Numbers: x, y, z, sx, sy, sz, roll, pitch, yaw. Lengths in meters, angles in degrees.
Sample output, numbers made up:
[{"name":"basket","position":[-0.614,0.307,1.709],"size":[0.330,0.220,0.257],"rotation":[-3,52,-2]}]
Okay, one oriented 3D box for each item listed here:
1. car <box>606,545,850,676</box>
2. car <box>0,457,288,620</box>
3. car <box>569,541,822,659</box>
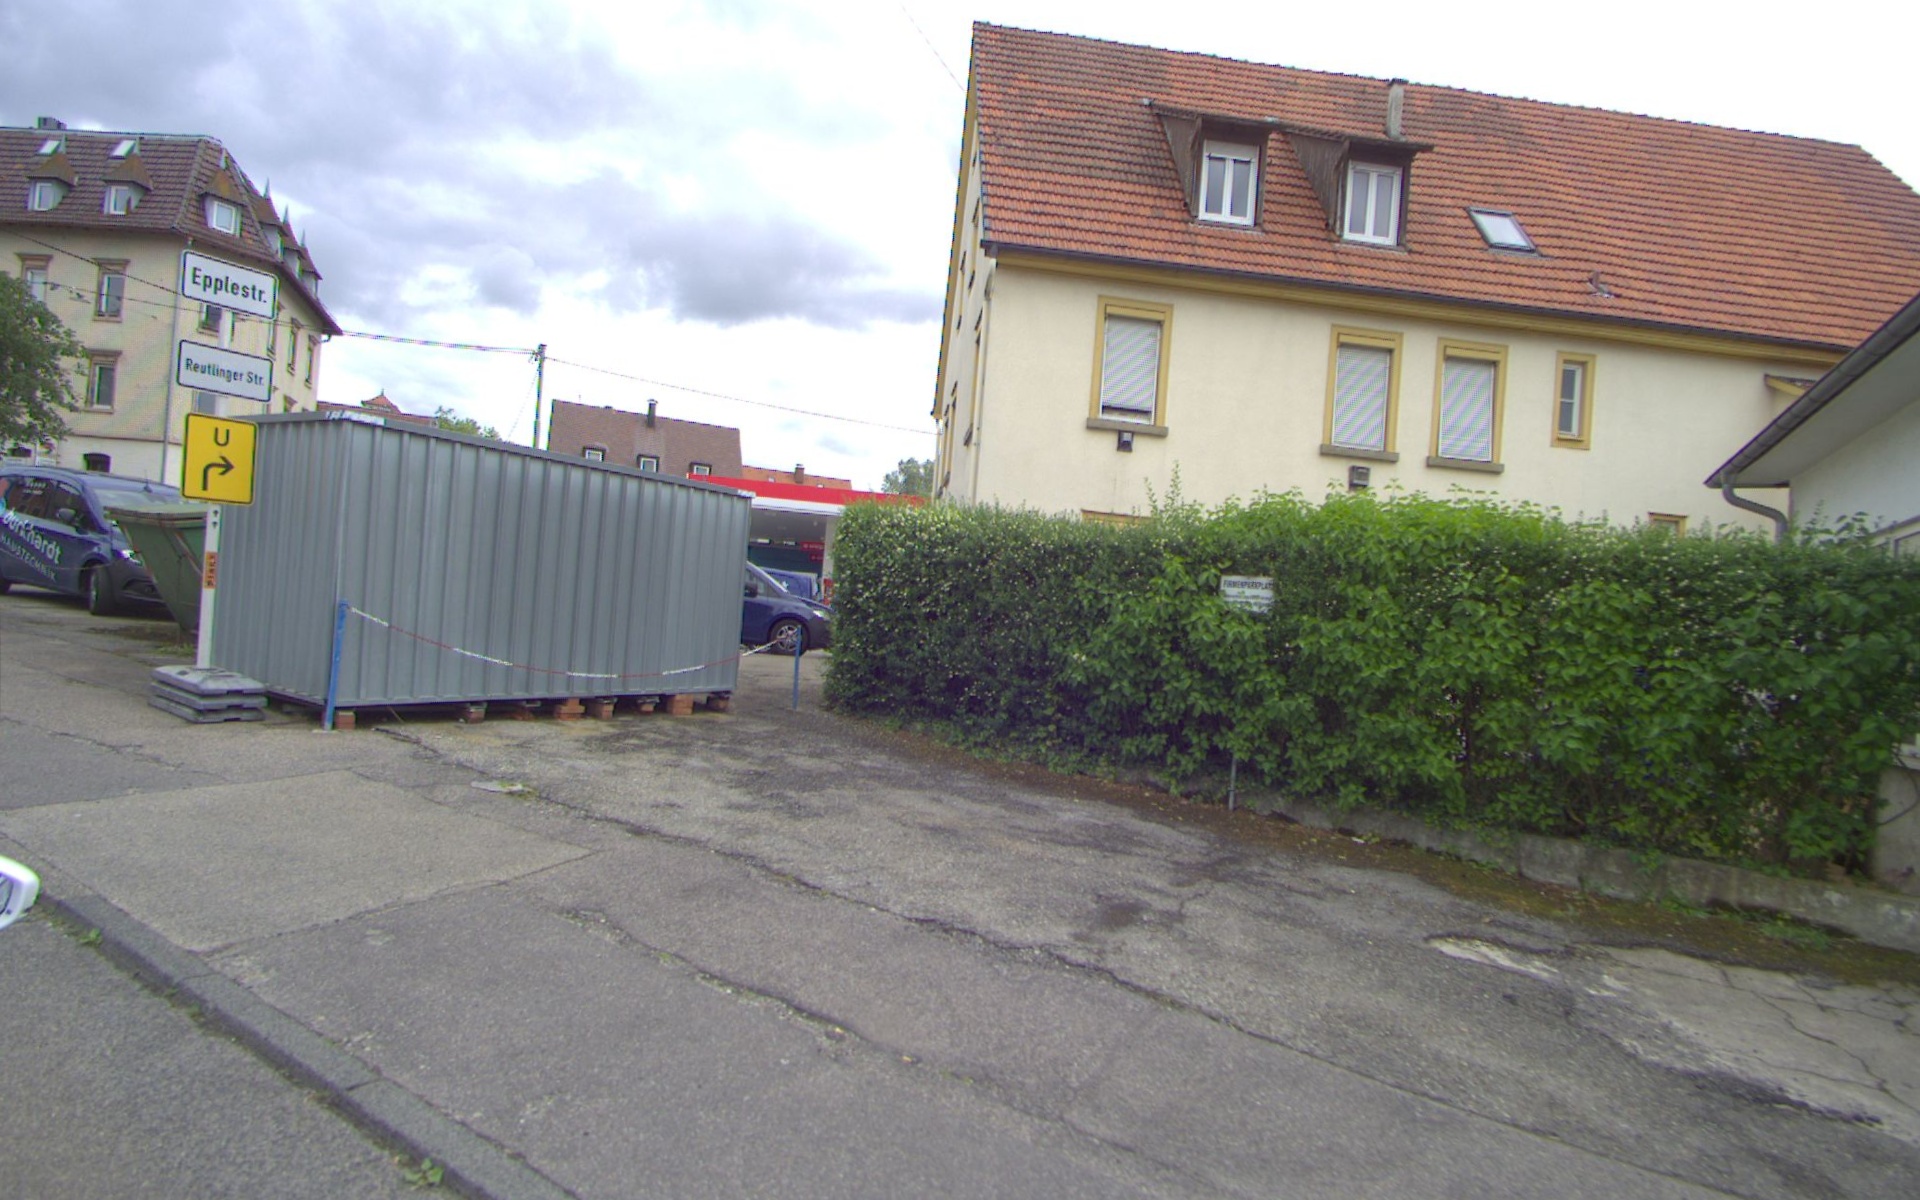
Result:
[{"name":"car","position":[-4.108,0.227,18.386],"size":[3.929,1.747,1.870],"rotation":[8,-2,-5]},{"name":"car","position":[-11.496,-0.873,13.690],"size":[4.490,1.762,1.749],"rotation":[7,2,25]},{"name":"car","position":[-5.624,0.050,21.880],"size":[4.803,1.823,1.904],"rotation":[8,-2,0]}]
